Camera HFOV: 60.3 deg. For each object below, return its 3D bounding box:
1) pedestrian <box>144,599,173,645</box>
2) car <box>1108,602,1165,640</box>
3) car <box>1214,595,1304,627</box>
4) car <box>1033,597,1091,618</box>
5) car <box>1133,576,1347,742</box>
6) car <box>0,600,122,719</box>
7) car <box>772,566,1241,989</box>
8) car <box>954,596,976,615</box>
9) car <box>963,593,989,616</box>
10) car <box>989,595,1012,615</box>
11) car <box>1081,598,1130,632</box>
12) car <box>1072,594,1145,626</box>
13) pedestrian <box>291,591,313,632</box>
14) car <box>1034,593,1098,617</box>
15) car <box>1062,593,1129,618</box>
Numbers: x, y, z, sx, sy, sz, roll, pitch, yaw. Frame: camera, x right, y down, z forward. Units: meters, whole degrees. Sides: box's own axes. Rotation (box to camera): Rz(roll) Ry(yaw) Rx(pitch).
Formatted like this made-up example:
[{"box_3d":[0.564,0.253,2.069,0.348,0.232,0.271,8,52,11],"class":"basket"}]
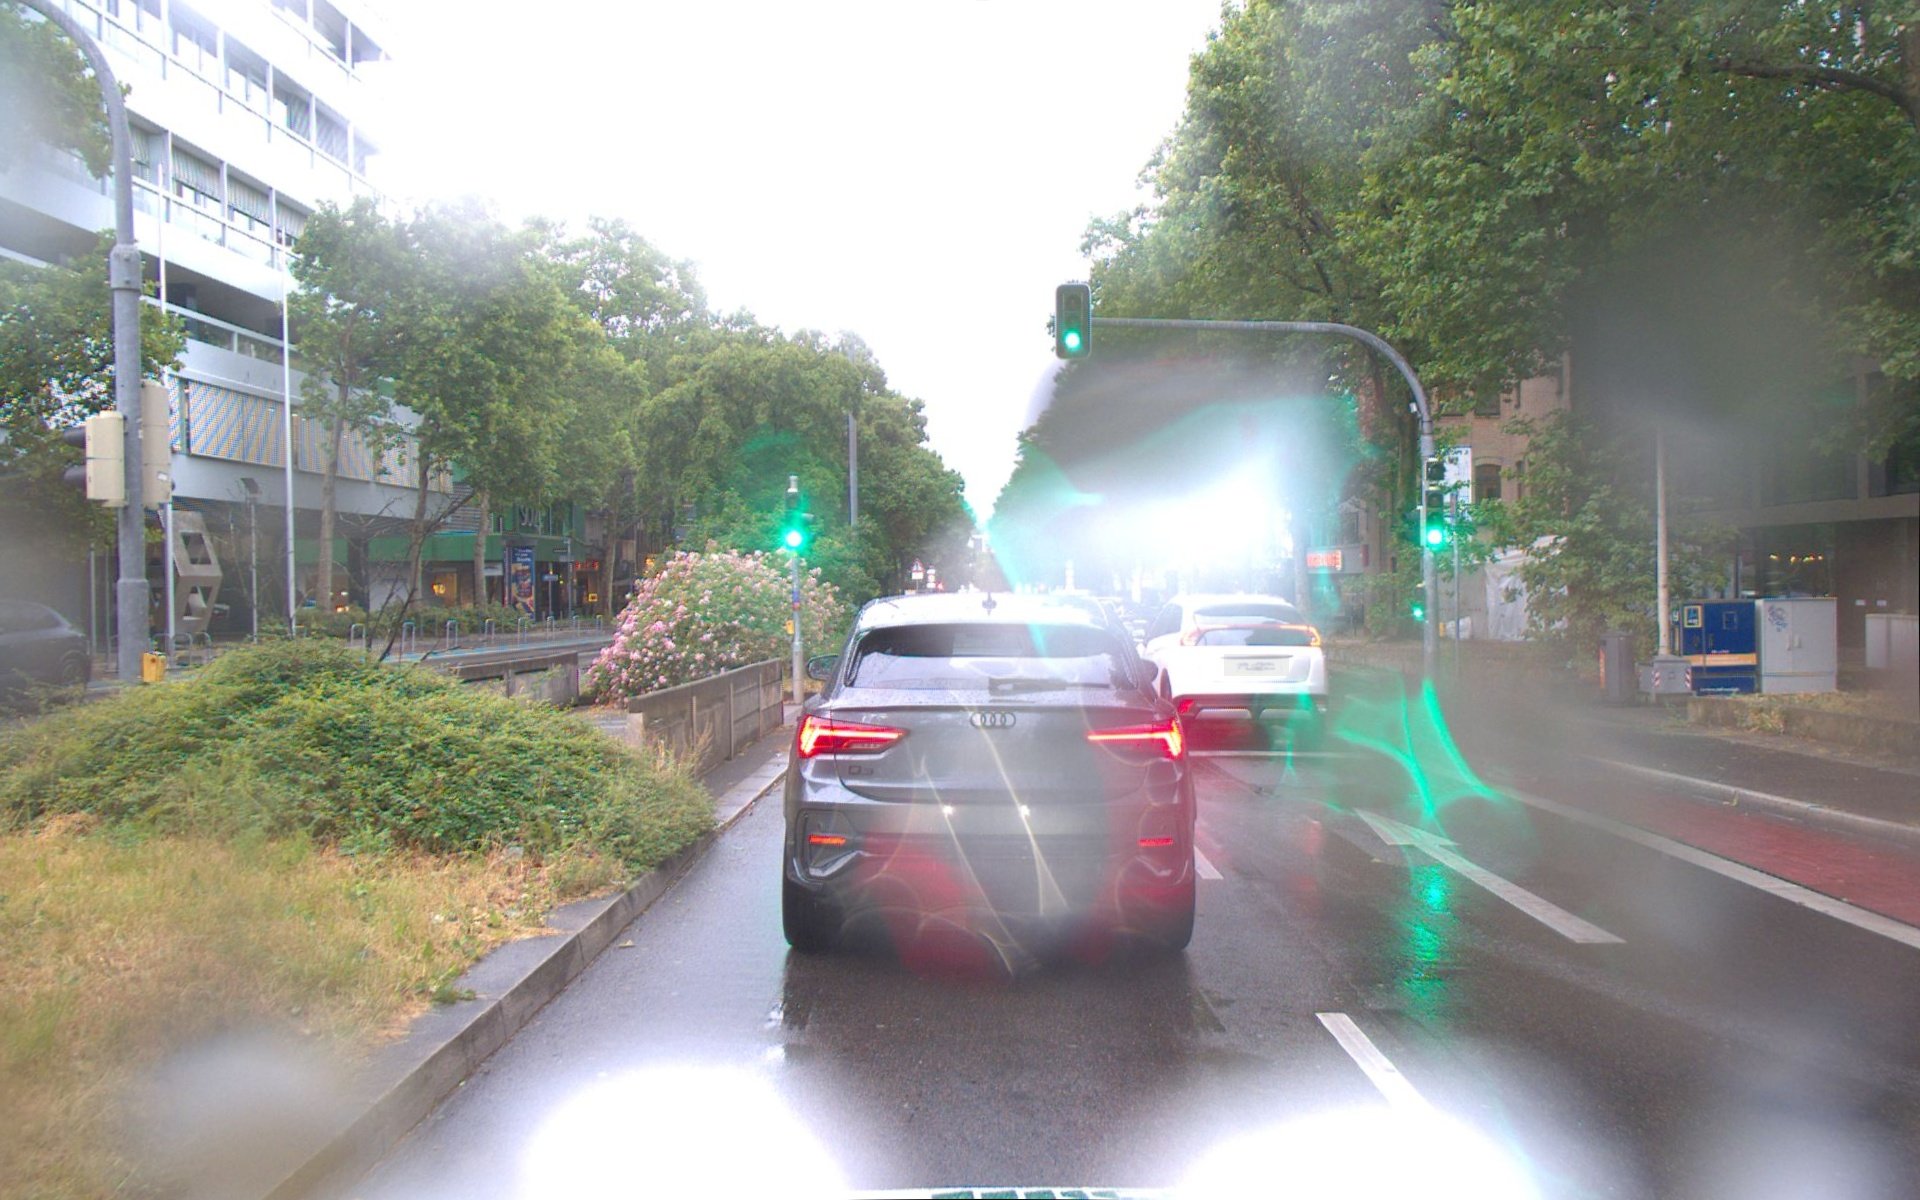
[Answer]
[{"box_3d":[-24.391,0.666,50.318,0.625,1.404,0.474,1,-1,-3],"class":"pedestrian"},{"box_3d":[7.223,0.848,68.057,1.835,1.446,4.611,1,0,0],"class":"car"},{"box_3d":[10.667,0.395,59.009,2.831,1.093,1.452,1,-1,31],"class":"car"},{"box_3d":[8.659,0.633,140.493,4.549,1.736,1.997,1,-1,28],"class":"car"},{"box_3d":[3.189,0.649,19.585,1.839,1.727,4.000,1,-1,0],"class":"car"},{"box_3d":[-13.906,0.799,22.951,1.869,1.612,4.748,1,-1,4],"class":"car"},{"box_3d":[0.151,0.694,8.402,1.812,1.630,3.999,0,0,-1],"class":"car"},{"box_3d":[0.464,0.517,148.576,1.857,1.627,3.938,1,-1,-1],"class":"car"},{"box_3d":[1.230,0.380,129.637,1.953,1.757,3.999,1,-1,-1],"class":"car"},{"box_3d":[3.678,0.472,150.987,1.952,1.680,4.000,1,-1,0],"class":"car"},{"box_3d":[6.942,0.721,79.159,1.693,1.599,4.070,1,-1,-4],"class":"car"},{"box_3d":[9.769,0.654,108.979,4.519,2.049,1.959,0,-1,38],"class":"car"},{"box_3d":[-24.736,0.433,62.187,0.597,1.508,0.574,1,-1,-3],"class":"pedestrian"},{"box_3d":[8.156,0.408,127.183,4.549,1.736,1.997,1,-1,28],"class":"car"},{"box_3d":[10.114,0.395,123.089,4.549,1.736,1.997,1,-1,28],"class":"car"}]
